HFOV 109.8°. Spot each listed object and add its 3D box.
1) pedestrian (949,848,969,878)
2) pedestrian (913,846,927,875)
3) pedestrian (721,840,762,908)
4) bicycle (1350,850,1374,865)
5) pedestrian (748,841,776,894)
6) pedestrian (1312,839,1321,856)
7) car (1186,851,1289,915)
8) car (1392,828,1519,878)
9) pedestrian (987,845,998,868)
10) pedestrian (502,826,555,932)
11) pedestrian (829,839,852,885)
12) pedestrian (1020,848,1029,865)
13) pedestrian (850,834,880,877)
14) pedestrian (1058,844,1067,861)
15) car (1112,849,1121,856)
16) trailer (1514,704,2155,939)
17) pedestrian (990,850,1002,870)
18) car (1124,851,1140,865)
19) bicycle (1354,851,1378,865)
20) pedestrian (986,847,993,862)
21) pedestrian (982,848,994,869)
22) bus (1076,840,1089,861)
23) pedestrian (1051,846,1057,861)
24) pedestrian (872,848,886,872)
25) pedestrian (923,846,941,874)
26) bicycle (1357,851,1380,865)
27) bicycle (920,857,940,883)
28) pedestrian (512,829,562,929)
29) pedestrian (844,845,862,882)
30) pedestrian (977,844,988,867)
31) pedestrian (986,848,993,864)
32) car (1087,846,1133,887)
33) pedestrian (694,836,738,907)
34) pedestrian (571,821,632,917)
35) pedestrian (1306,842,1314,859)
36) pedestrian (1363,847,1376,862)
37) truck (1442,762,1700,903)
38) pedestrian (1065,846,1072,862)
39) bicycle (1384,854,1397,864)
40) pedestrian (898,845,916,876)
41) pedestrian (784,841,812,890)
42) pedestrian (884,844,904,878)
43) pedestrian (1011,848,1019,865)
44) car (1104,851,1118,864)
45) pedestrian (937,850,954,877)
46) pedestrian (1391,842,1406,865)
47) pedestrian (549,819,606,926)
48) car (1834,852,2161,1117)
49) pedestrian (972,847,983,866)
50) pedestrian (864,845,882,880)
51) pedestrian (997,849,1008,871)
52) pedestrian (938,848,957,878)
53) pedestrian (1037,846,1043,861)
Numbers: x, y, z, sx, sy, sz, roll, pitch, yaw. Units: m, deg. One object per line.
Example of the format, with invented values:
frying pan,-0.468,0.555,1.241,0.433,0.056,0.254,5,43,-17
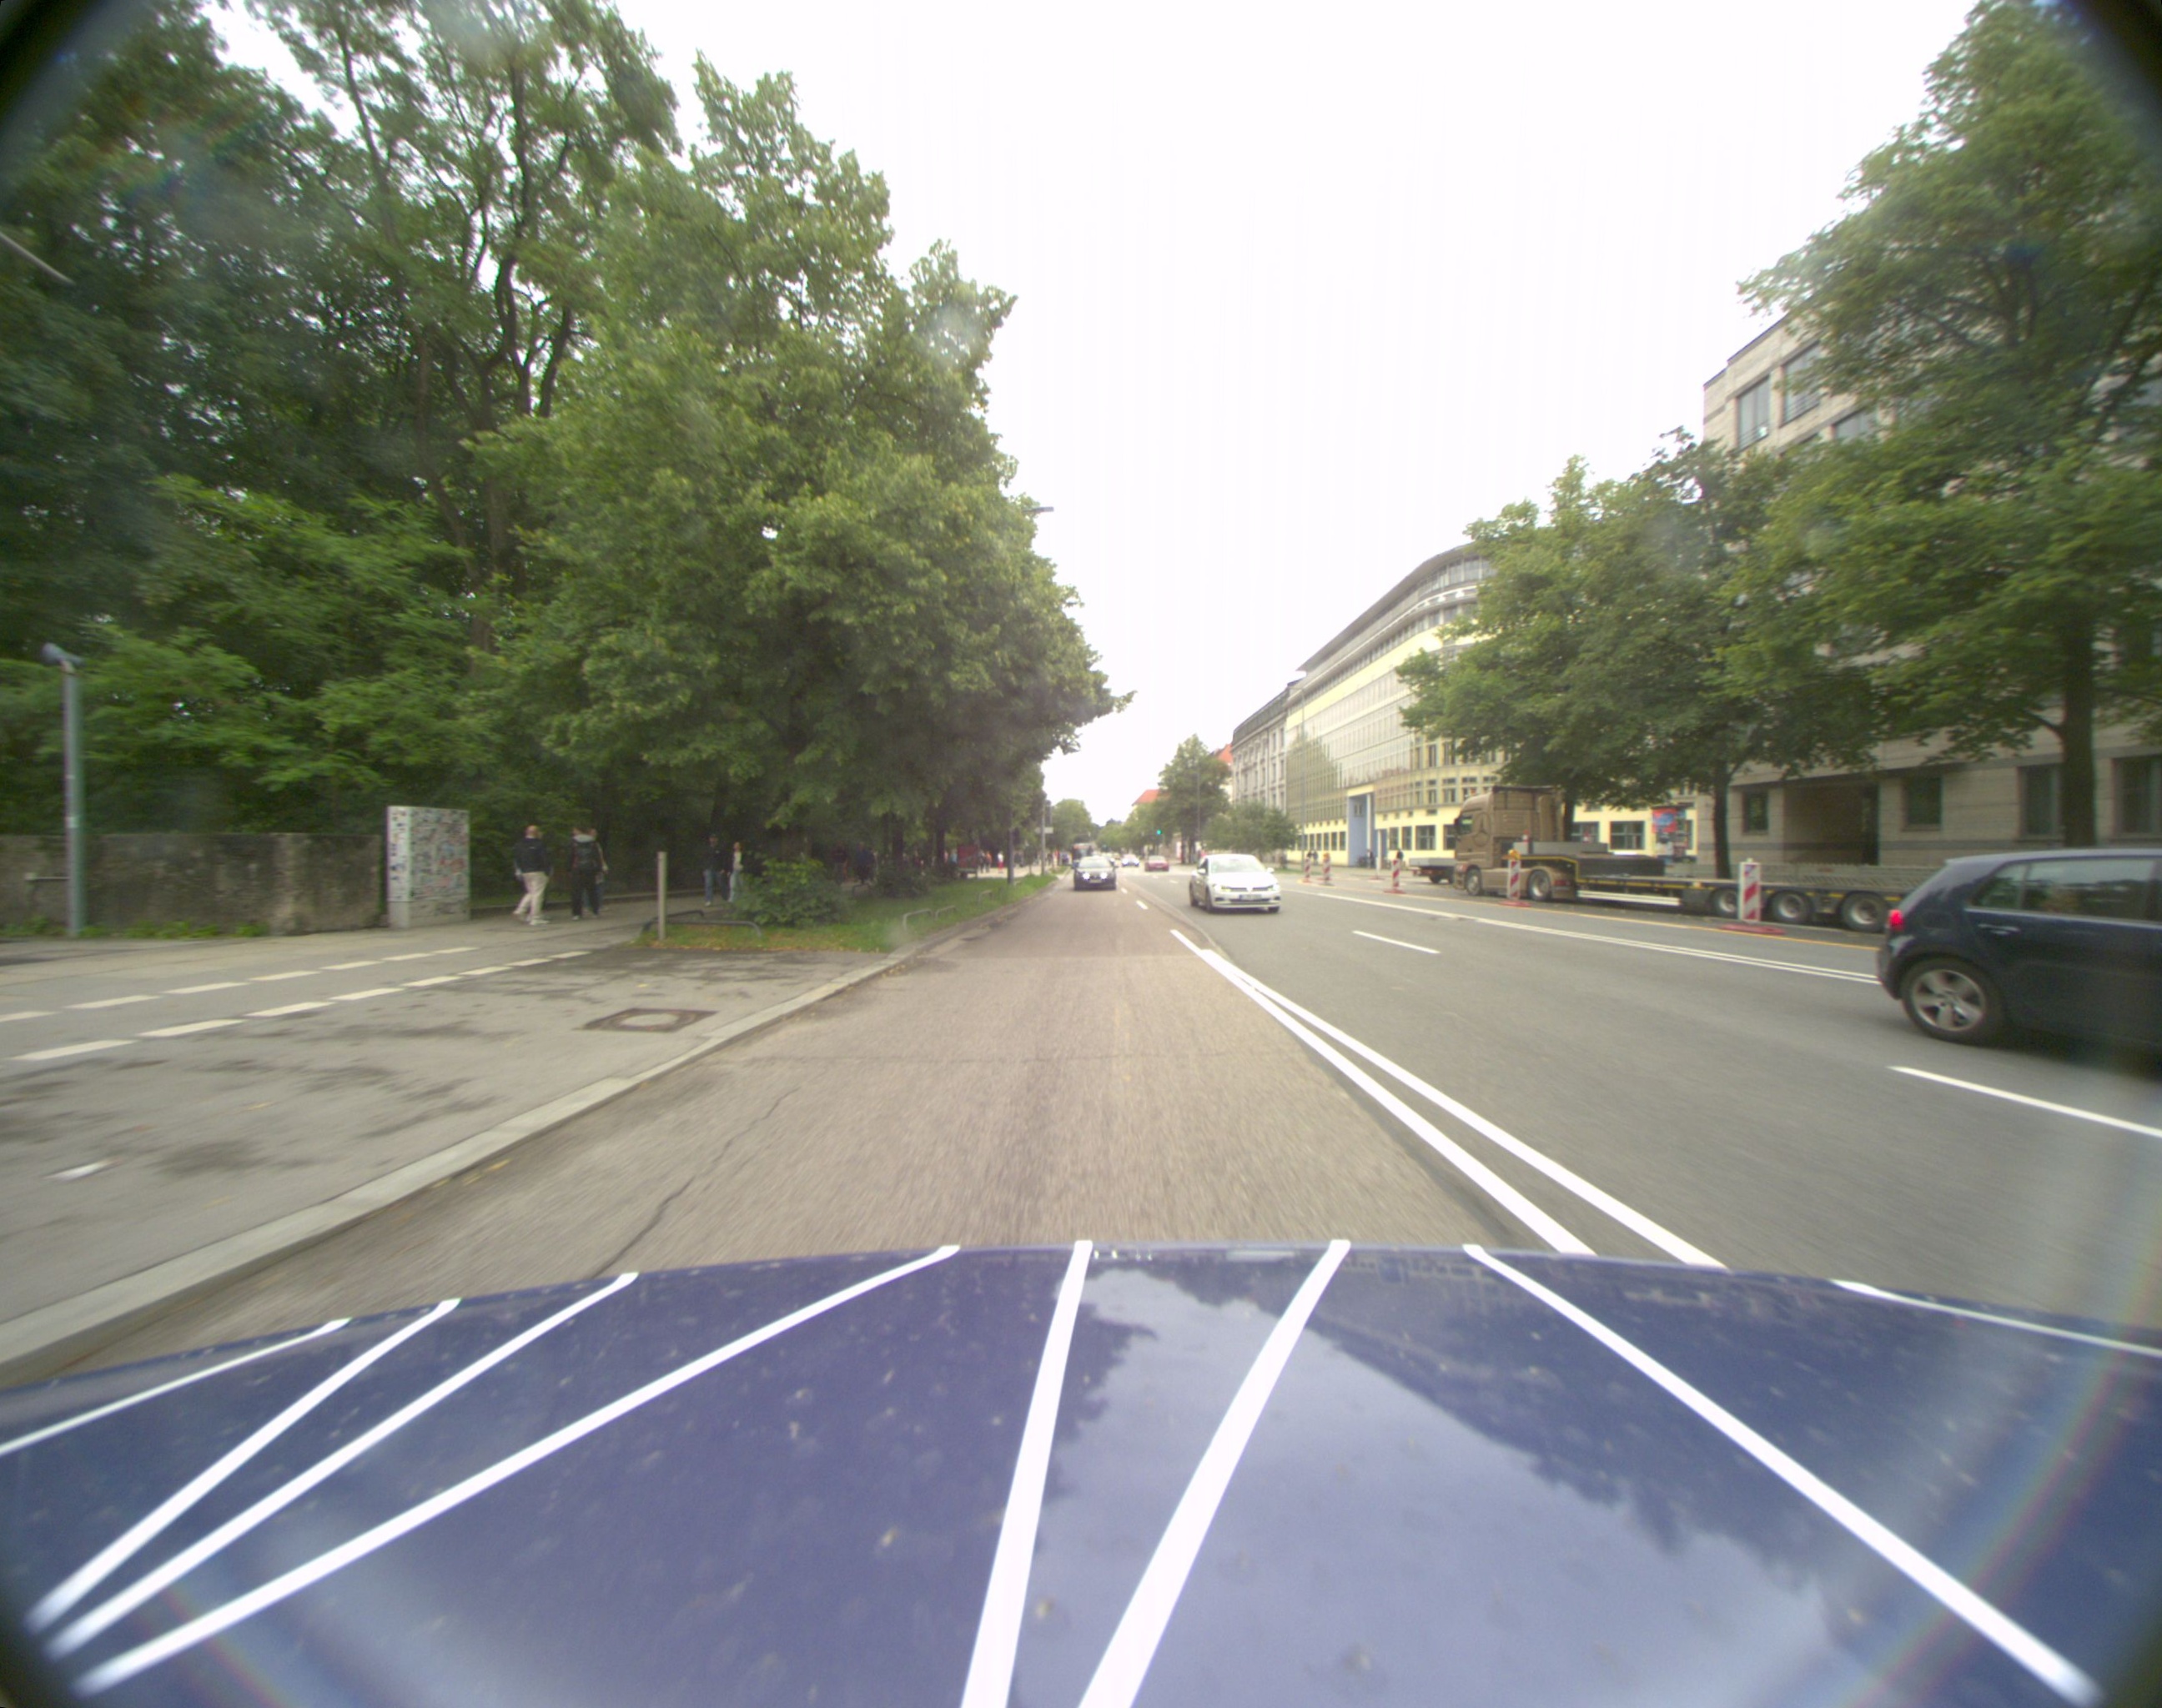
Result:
pedestrian,-6.787,0.489,42.392,0.755,1.634,0.850,-1,1,16
pedestrian,-10.703,0.438,50.540,0.694,1.862,0.610,-2,1,-35
pedestrian,-8.540,0.494,19.128,0.609,1.671,0.754,-2,1,4
bicycle,26.823,0.323,72.583,2.014,1.311,0.638,-2,1,-5
pedestrian,-10.165,0.423,24.211,0.581,1.666,0.553,-2,1,4
pedestrian,24.519,-0.644,79.142,0.617,1.766,0.835,-2,1,0
car,3.956,0.664,19.896,1.797,1.439,4.274,0,1,0
car,19.662,-0.049,40.095,5.697,2.522,2.155,0,1,-4
pedestrian,-7.535,0.184,64.556,0.610,1.903,0.694,-1,1,17
pedestrian,-9.718,0.428,13.391,0.597,1.798,0.723,1,1,-24
pedestrian,-9.684,0.332,30.583,0.589,1.812,0.850,-2,1,1
pedestrian,-5.631,0.255,75.608,0.728,1.681,0.648,-2,1,5
pedestrian,-8.772,0.053,30.871,0.755,1.727,0.850,-1,1,16
pedestrian,-2.052,-0.212,85.479,0.804,1.870,0.545,-1,1,36
car,8.938,-0.303,191.202,1.862,1.738,4.629,1,0,1
trailer,15.599,-0.570,18.150,2.958,3.718,11.764,-2,1,-5
pedestrian,-6.817,0.505,60.843,0.694,1.568,0.610,-2,1,-35
car,5.995,0.465,88.924,1.638,1.562,3.945,0,0,0
bicycle,26.882,0.384,71.737,2.014,1.311,0.574,-2,1,-5
pedestrian,-9.859,0.079,82.177,0.637,1.617,0.533,-2,1,3
pedestrian,-7.407,0.365,60.323,0.694,1.642,0.610,-2,1,-33
bus,0.186,-0.465,100.153,1.638,2.570,6.701,0,0,0
pedestrian,-3.426,-0.075,95.633,0.710,1.904,0.956,-2,1,0
pedestrian,-14.518,0.457,54.613,0.694,1.686,0.610,-2,1,-35
pedestrian,-9.053,0.362,46.184,0.755,1.634,0.691,-1,1,16
bicycle,26.900,0.378,71.107,2.014,1.311,0.574,-2,1,-5
bicycle,-6.362,0.659,32.123,0.385,1.015,2.079,-2,1,1
pedestrian,-10.068,0.445,14.093,0.597,1.798,0.723,1,1,-24
pedestrian,-10.235,0.419,34.110,0.683,1.628,0.663,-2,1,-11
pedestrian,-8.335,0.133,64.065,0.610,1.862,0.694,-1,1,17
pedestrian,-10.008,0.224,82.931,0.637,1.758,0.533,-2,1,3
car,1.193,0.485,32.775,1.797,1.627,4.274,0,1,0
pedestrian,-9.195,0.428,19.160,0.609,1.753,0.797,-2,1,4
pedestrian,-10.291,0.313,16.322,0.765,2.002,0.776,2,1,1
pedestrian,23.861,-0.349,79.137,0.617,1.766,0.835,-2,1,0
pedestrian,26.234,0.075,69.120,0.839,1.356,1.086,0,1,0
truck,15.130,-0.614,24.414,2.924,3.753,7.662,-2,1,-4
pedestrian,-1.428,-0.029,87.254,0.710,1.798,0.639,-2,1,0
bicycle,25.822,0.403,63.339,0.478,0.872,1.737,0,0,3
pedestrian,-8.436,0.311,36.764,0.682,1.506,0.562,-2,1,1
pedestrian,-10.319,0.409,27.754,0.632,1.763,0.782,-2,1,4
pedestrian,-8.717,0.331,35.420,0.682,1.557,0.872,-2,1,1
pedestrian,-6.574,0.209,75.672,0.728,1.681,0.648,-2,1,5
car,3.837,0.423,98.129,1.638,1.562,3.945,0,0,0
pedestrian,-8.229,0.579,46.021,0.755,1.634,0.651,-1,1,16
pedestrian,24.646,-0.043,58.984,0.992,1.723,0.816,-1,1,31
pedestrian,-9.692,0.346,14.647,0.595,2.002,0.724,2,1,1
car,7.069,0.761,4.079,1.696,1.507,4.338,0,1,-1
pedestrian,-10.011,0.257,73.470,0.814,1.780,0.729,-2,1,3
pedestrian,-9.726,0.404,35.507,0.682,1.628,0.601,0,1,1
pedestrian,-6.216,0.476,60.292,0.728,1.681,0.648,-2,1,5
pedestrian,-7.502,0.507,42.709,0.755,1.634,0.850,-1,1,16
pedestrian,-5.250,-0.026,96.832,0.710,1.904,0.956,-2,1,0
